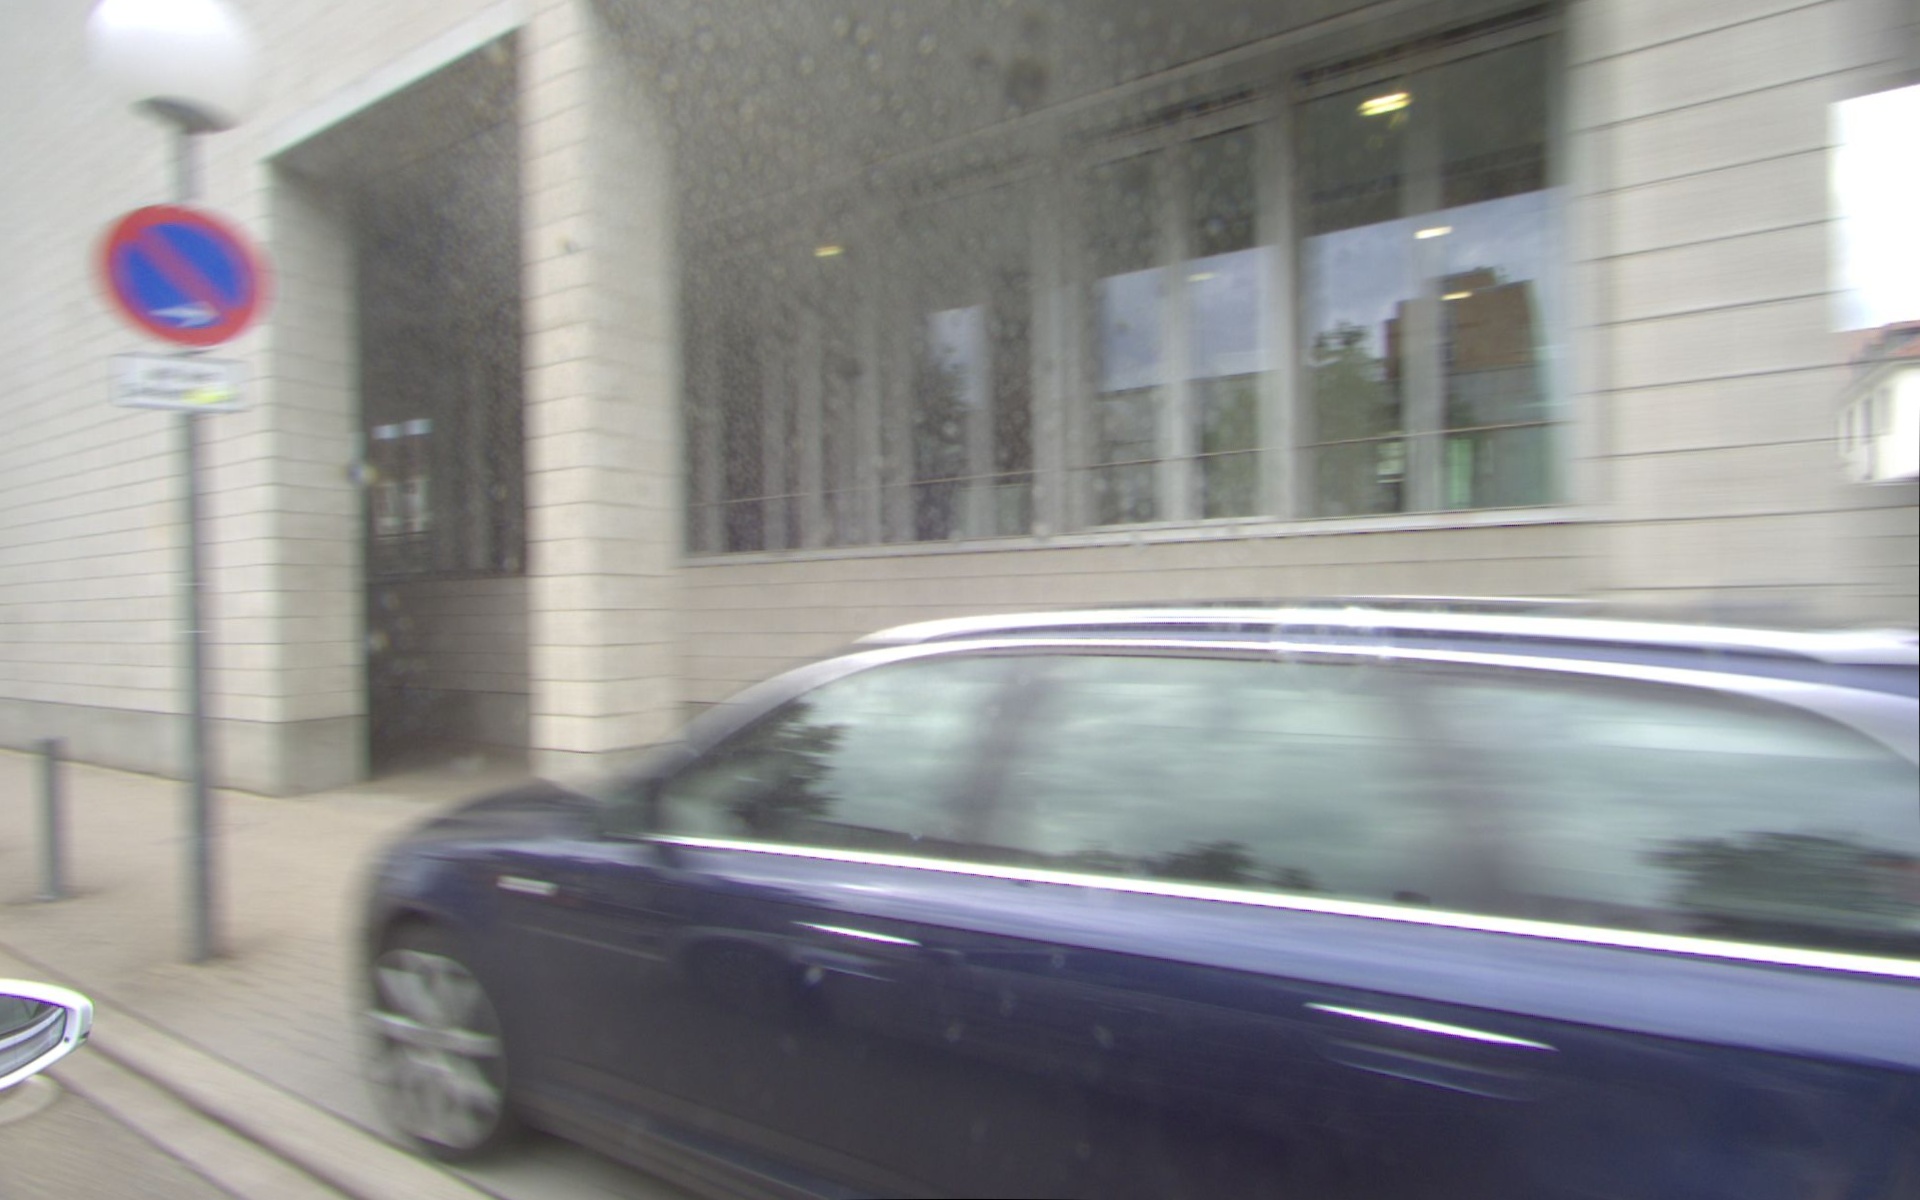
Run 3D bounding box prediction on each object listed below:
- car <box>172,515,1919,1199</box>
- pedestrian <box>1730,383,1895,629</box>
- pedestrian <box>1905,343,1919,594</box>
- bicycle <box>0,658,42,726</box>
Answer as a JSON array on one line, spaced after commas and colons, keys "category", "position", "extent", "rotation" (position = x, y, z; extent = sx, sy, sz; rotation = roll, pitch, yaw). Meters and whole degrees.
[{"category": "car", "position": [0.078, 0.684, 2.722], "extent": [4.852, 1.471, 1.989], "rotation": [-1, 0, 32]}, {"category": "pedestrian", "position": [6.283, -0.646, 7.393], "extent": [0.625, 1.681, 0.799], "rotation": [1, 1, -42]}, {"category": "pedestrian", "position": [6.939, -0.876, 6.741], "extent": [0.796, 1.681, 0.627], "rotation": [2, 1, -33]}, {"category": "bicycle", "position": [-12.202, 1.193, 12.501], "extent": [0.457, 0.762, 2.284], "rotation": [-5, 3, -28]}]
